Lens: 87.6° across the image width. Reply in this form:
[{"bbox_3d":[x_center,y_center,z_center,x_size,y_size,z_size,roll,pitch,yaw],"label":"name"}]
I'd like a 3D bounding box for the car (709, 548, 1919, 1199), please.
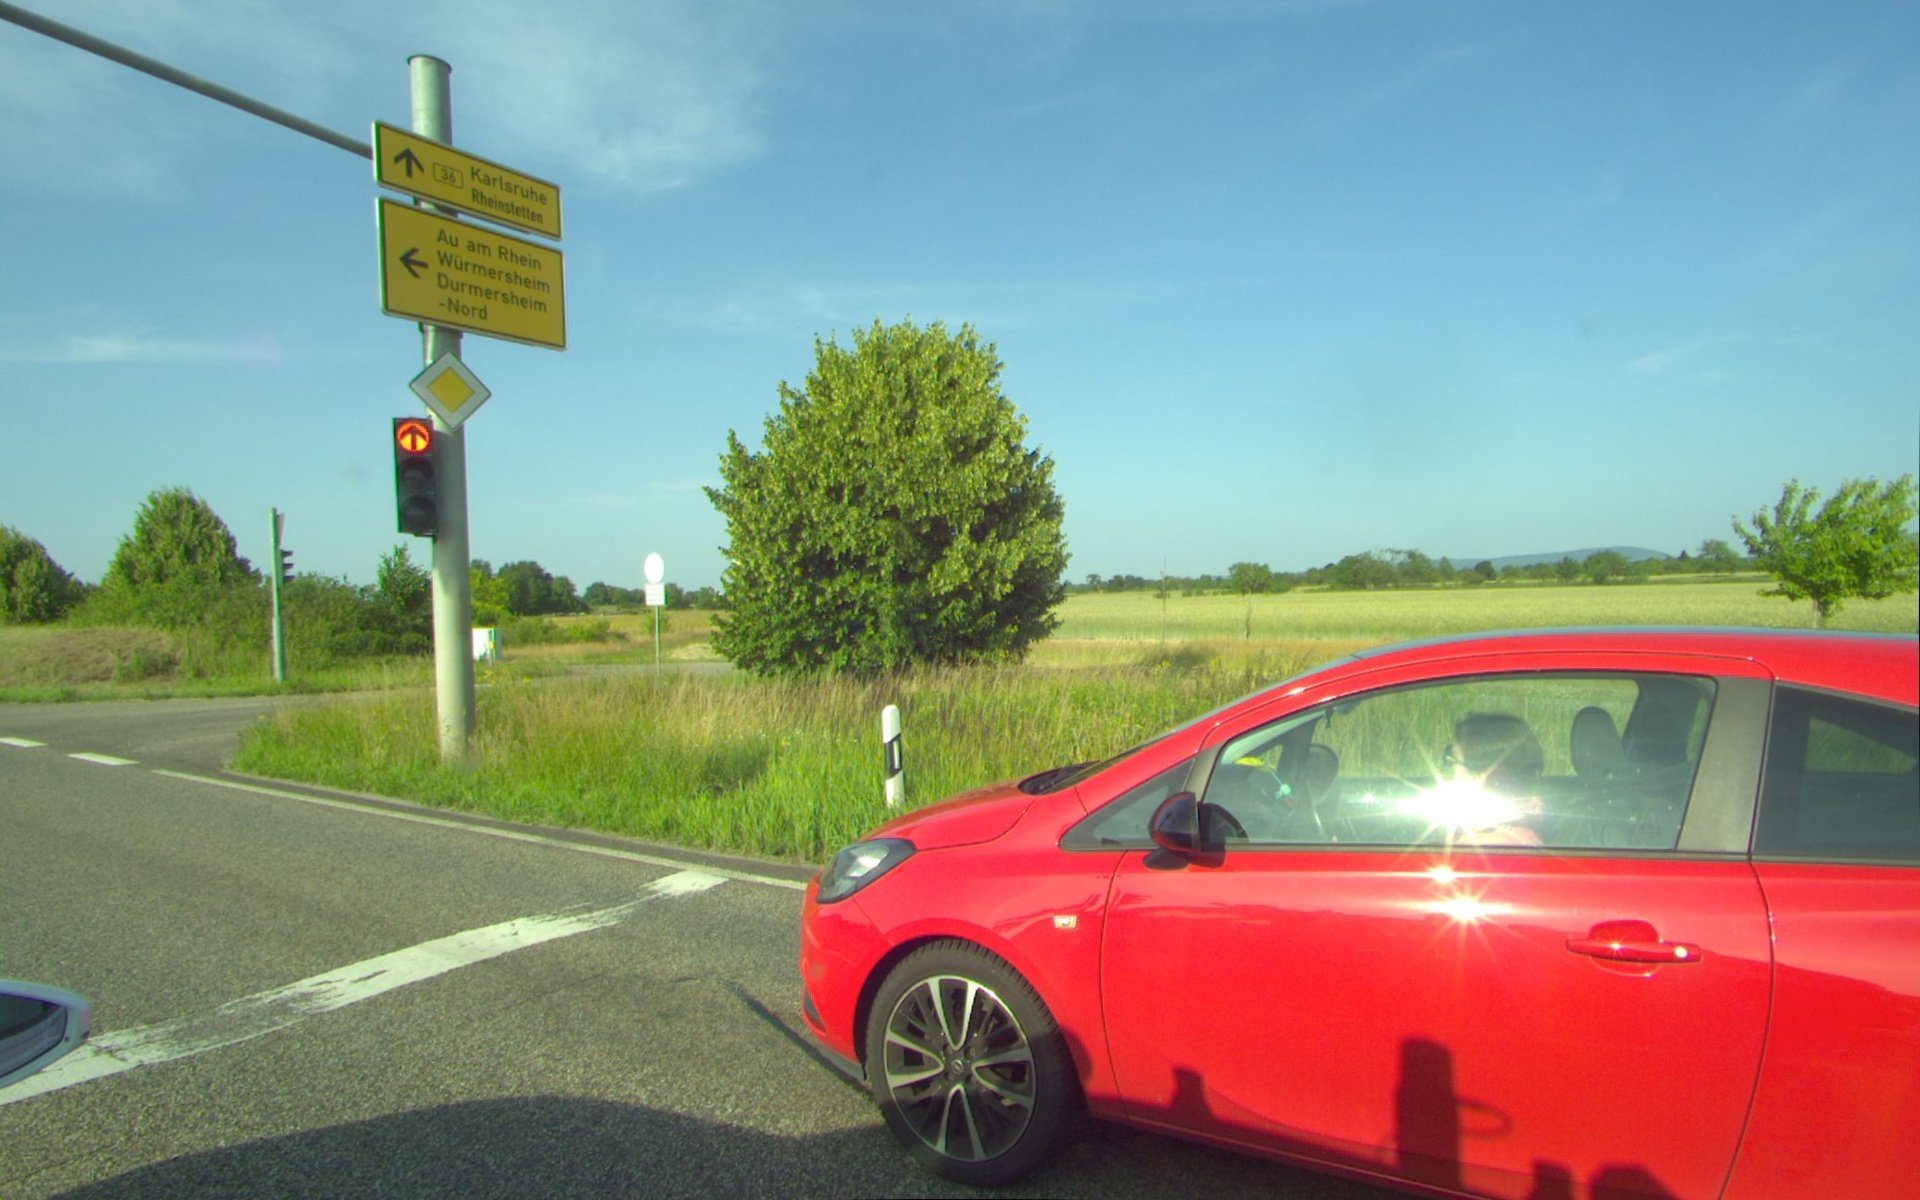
[{"bbox_3d":[1.274,0.715,2.840,3.693,1.569,1.695,-1,0,29],"label":"car"}]
